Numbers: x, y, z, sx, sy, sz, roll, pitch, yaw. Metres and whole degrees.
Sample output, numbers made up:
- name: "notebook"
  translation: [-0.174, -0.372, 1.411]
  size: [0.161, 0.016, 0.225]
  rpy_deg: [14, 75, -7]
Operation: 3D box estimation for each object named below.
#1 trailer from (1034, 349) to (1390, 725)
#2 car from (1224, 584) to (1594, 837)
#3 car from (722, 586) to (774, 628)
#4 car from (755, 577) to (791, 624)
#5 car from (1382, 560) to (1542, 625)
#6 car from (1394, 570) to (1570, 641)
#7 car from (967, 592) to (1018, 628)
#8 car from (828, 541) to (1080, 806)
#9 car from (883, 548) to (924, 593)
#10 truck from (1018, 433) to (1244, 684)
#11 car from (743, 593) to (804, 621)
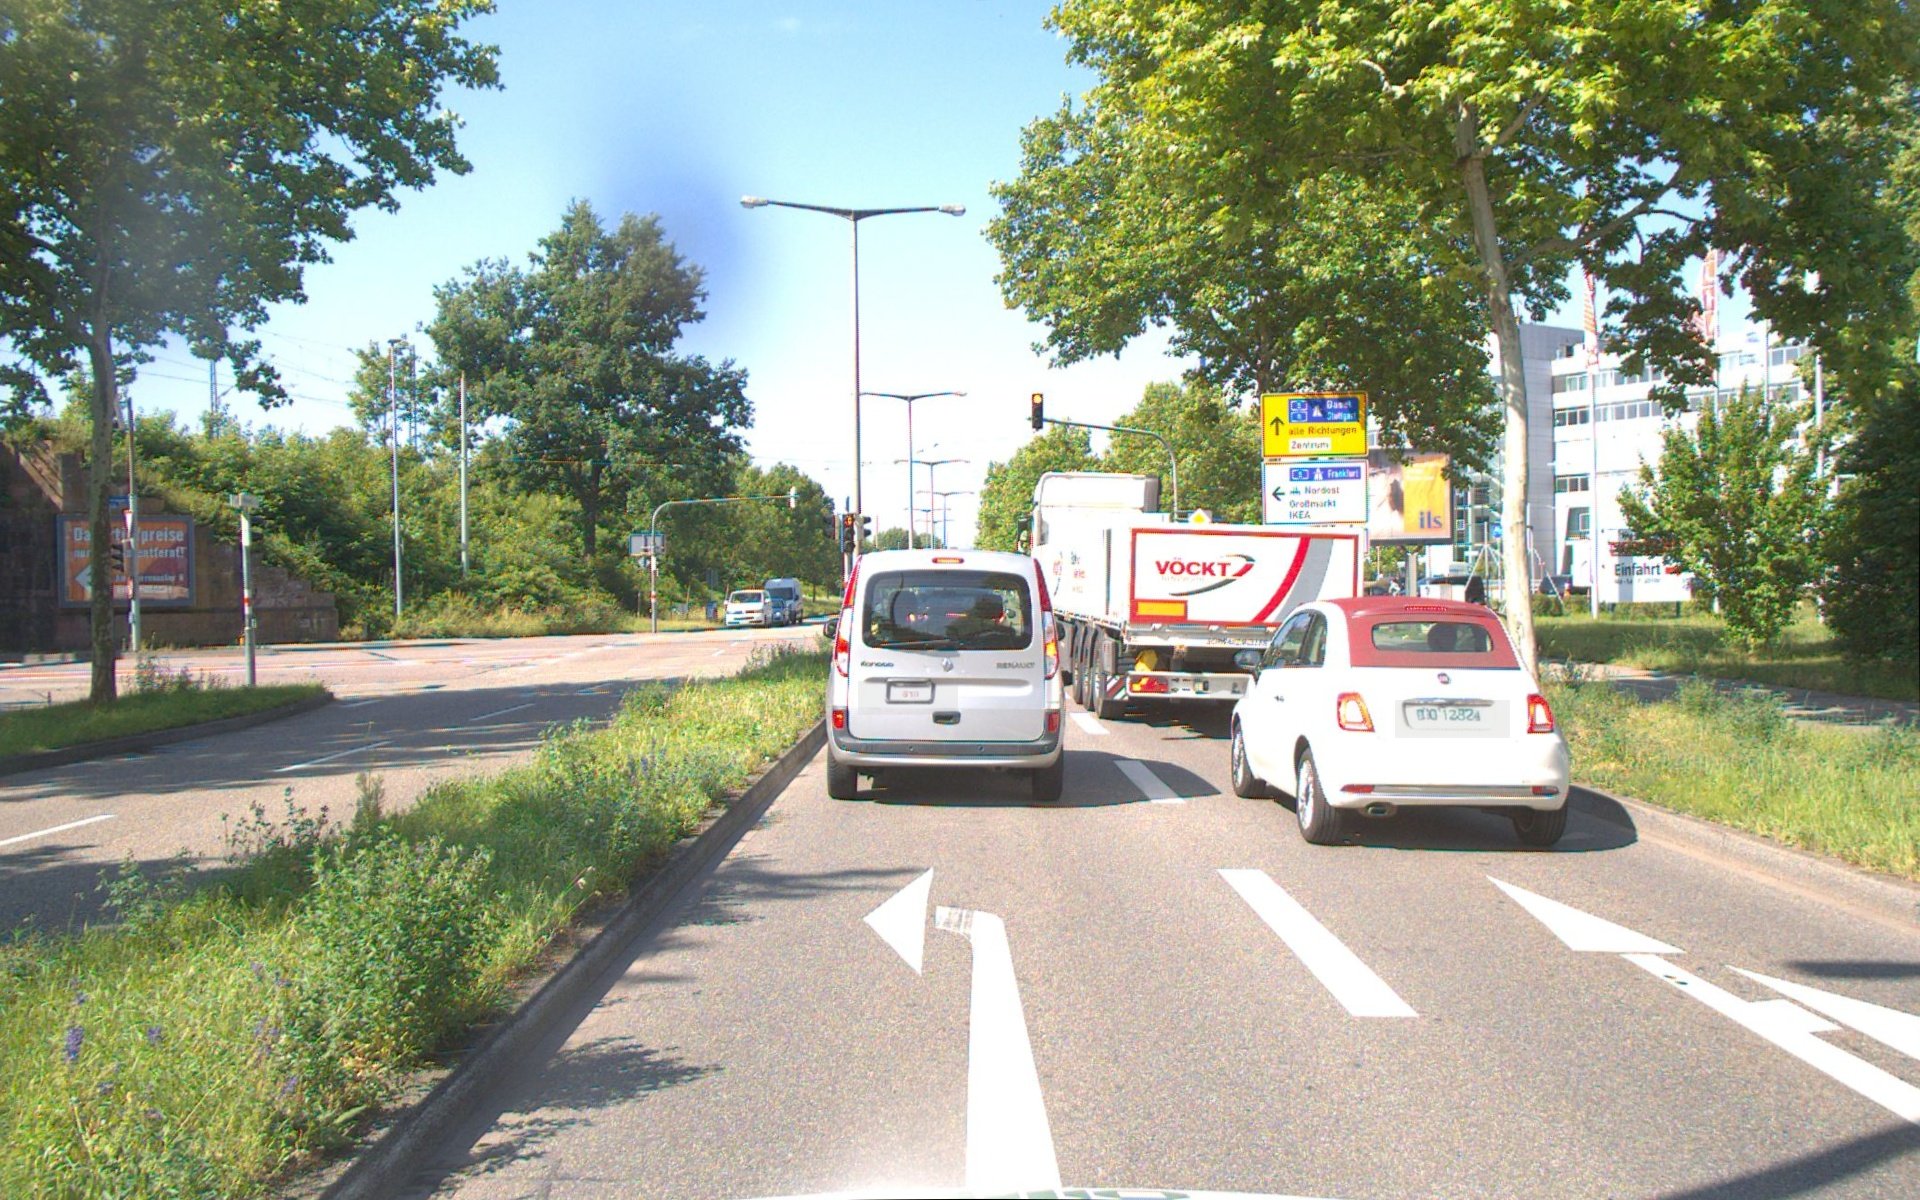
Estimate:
- name: "trailer"
  translation: [2.848, -0.624, 22.971]
  size: [2.954, 3.806, 12.238]
  rpy_deg: [0, 0, 0]
- name: "car"
  translation: [2.897, 0.648, 11.392]
  size: [1.627, 1.461, 3.520]
  rpy_deg: [0, 0, 1]
- name: "car"
  translation: [-10.343, 0.328, 81.023]
  size: [1.953, 1.924, 4.986]
  rpy_deg: [-3, 0, -2]
- name: "car"
  translation: [-10.929, 0.022, 96.511]
  size: [2.019, 2.660, 5.861]
  rpy_deg: [0, 0, -7]
- name: "car"
  translation: [13.642, -0.203, 45.102]
  size: [3.903, 1.691, 1.724]
  rpy_deg: [0, 0, 4]
- name: "car"
  translation: [12.993, 0.136, 41.324]
  size: [3.903, 1.691, 1.724]
  rpy_deg: [0, 0, 4]
- name: "car"
  translation: [1.506, 0.477, 79.116]
  size: [1.955, 1.668, 3.995]
  rpy_deg: [0, 0, -6]
- name: "car"
  translation: [-0.078, 0.510, 13.313]
  size: [1.713, 1.803, 3.948]
  rpy_deg: [0, 0, -1]
- name: "car"
  translation: [-2.733, -1.396, 78.931]
  size: [1.681, 2.049, 3.995]
  rpy_deg: [0, 0, -6]
- name: "truck"
  translation: [2.765, -0.623, 29.182]
  size: [3.009, 3.824, 7.473]
  rpy_deg: [0, 0, -2]
- name: "car"
  translation: [-10.048, 0.363, 88.975]
  size: [1.889, 1.433, 4.189]
  rpy_deg: [1, 0, -27]
